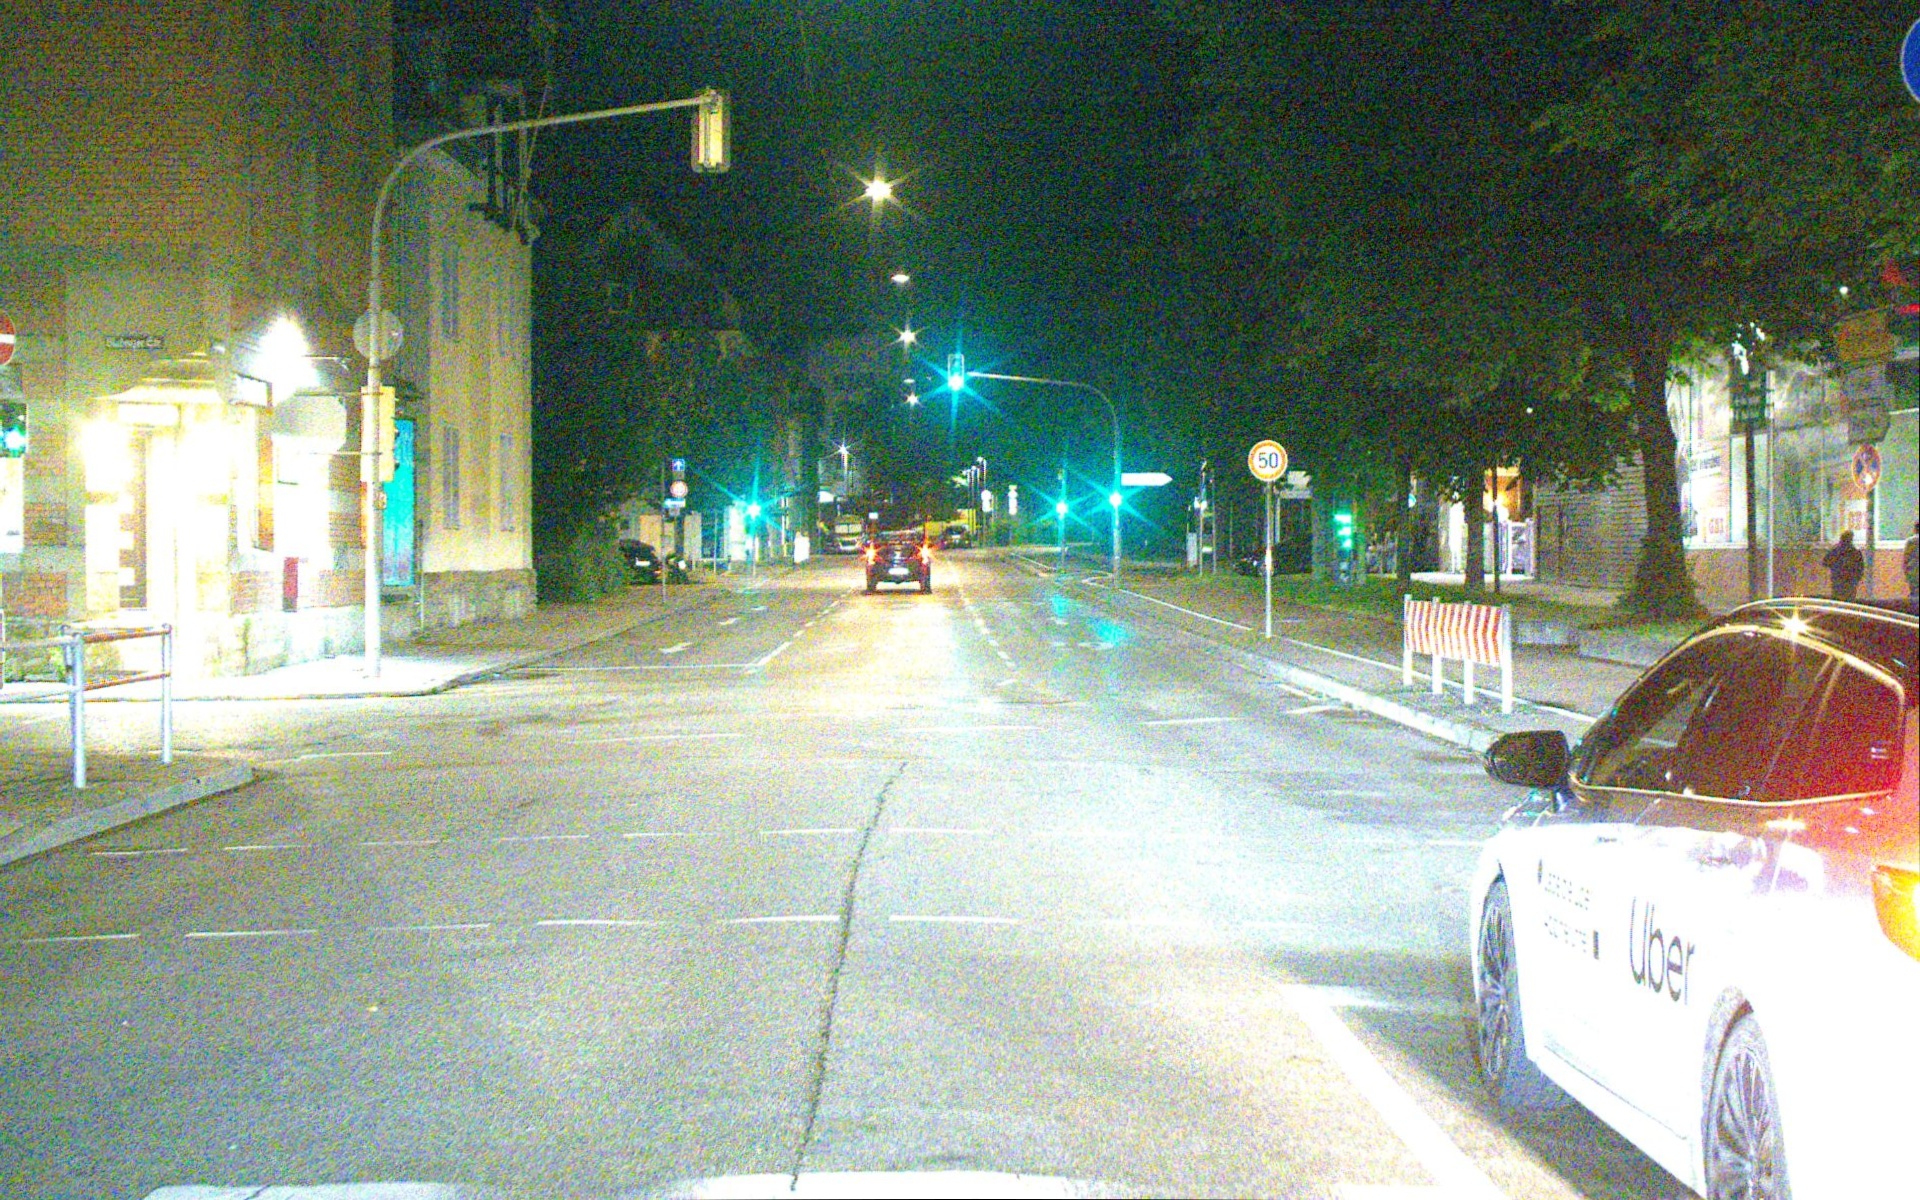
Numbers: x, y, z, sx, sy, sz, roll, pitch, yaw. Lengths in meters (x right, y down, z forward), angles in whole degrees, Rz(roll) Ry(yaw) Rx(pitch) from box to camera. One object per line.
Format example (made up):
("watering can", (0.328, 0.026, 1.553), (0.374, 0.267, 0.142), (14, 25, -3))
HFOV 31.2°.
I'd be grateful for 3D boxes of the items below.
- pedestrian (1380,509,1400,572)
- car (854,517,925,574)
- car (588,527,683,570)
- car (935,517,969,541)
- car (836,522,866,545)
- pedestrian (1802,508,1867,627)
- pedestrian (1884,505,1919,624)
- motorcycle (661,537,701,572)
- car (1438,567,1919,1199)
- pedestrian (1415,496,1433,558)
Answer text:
("pedestrian", (13.806, -1.914, 110.417), (0.531, 2.007, 0.670), (-1, 1, -1))
("car", (-2.112, -1.633, 102.197), (1.993, 1.634, 4.001), (-1, 1, -2))
("car", (-11.773, -1.865, 124.506), (1.803, 1.481, 4.000), (-2, 2, -32))
("car", (-0.544, -4.754, 230.047), (1.993, 1.590, 4.001), (-1, 1, -3))
("car", (-6.821, -4.141, 215.146), (1.777, 1.385, 4.001), (-1, 1, -3))
("pedestrian", (13.147, -0.496, 51.704), (0.714, 1.763, 0.907), (-1, 1, -1))
("pedestrian", (14.372, -0.538, 51.564), (0.738, 1.763, 0.907), (-1, 1, -1))
("motorcycle", (-9.835, -1.605, 121.258), (0.781, 1.200, 2.450), (-1, 1, -19))
("car", (2.307, 0.683, 7.657), (1.729, 1.430, 4.211), (1, 1, -2))
("pedestrian", (14.989, -2.349, 111.013), (0.487, 2.007, 0.551), (-1, 1, -1))
